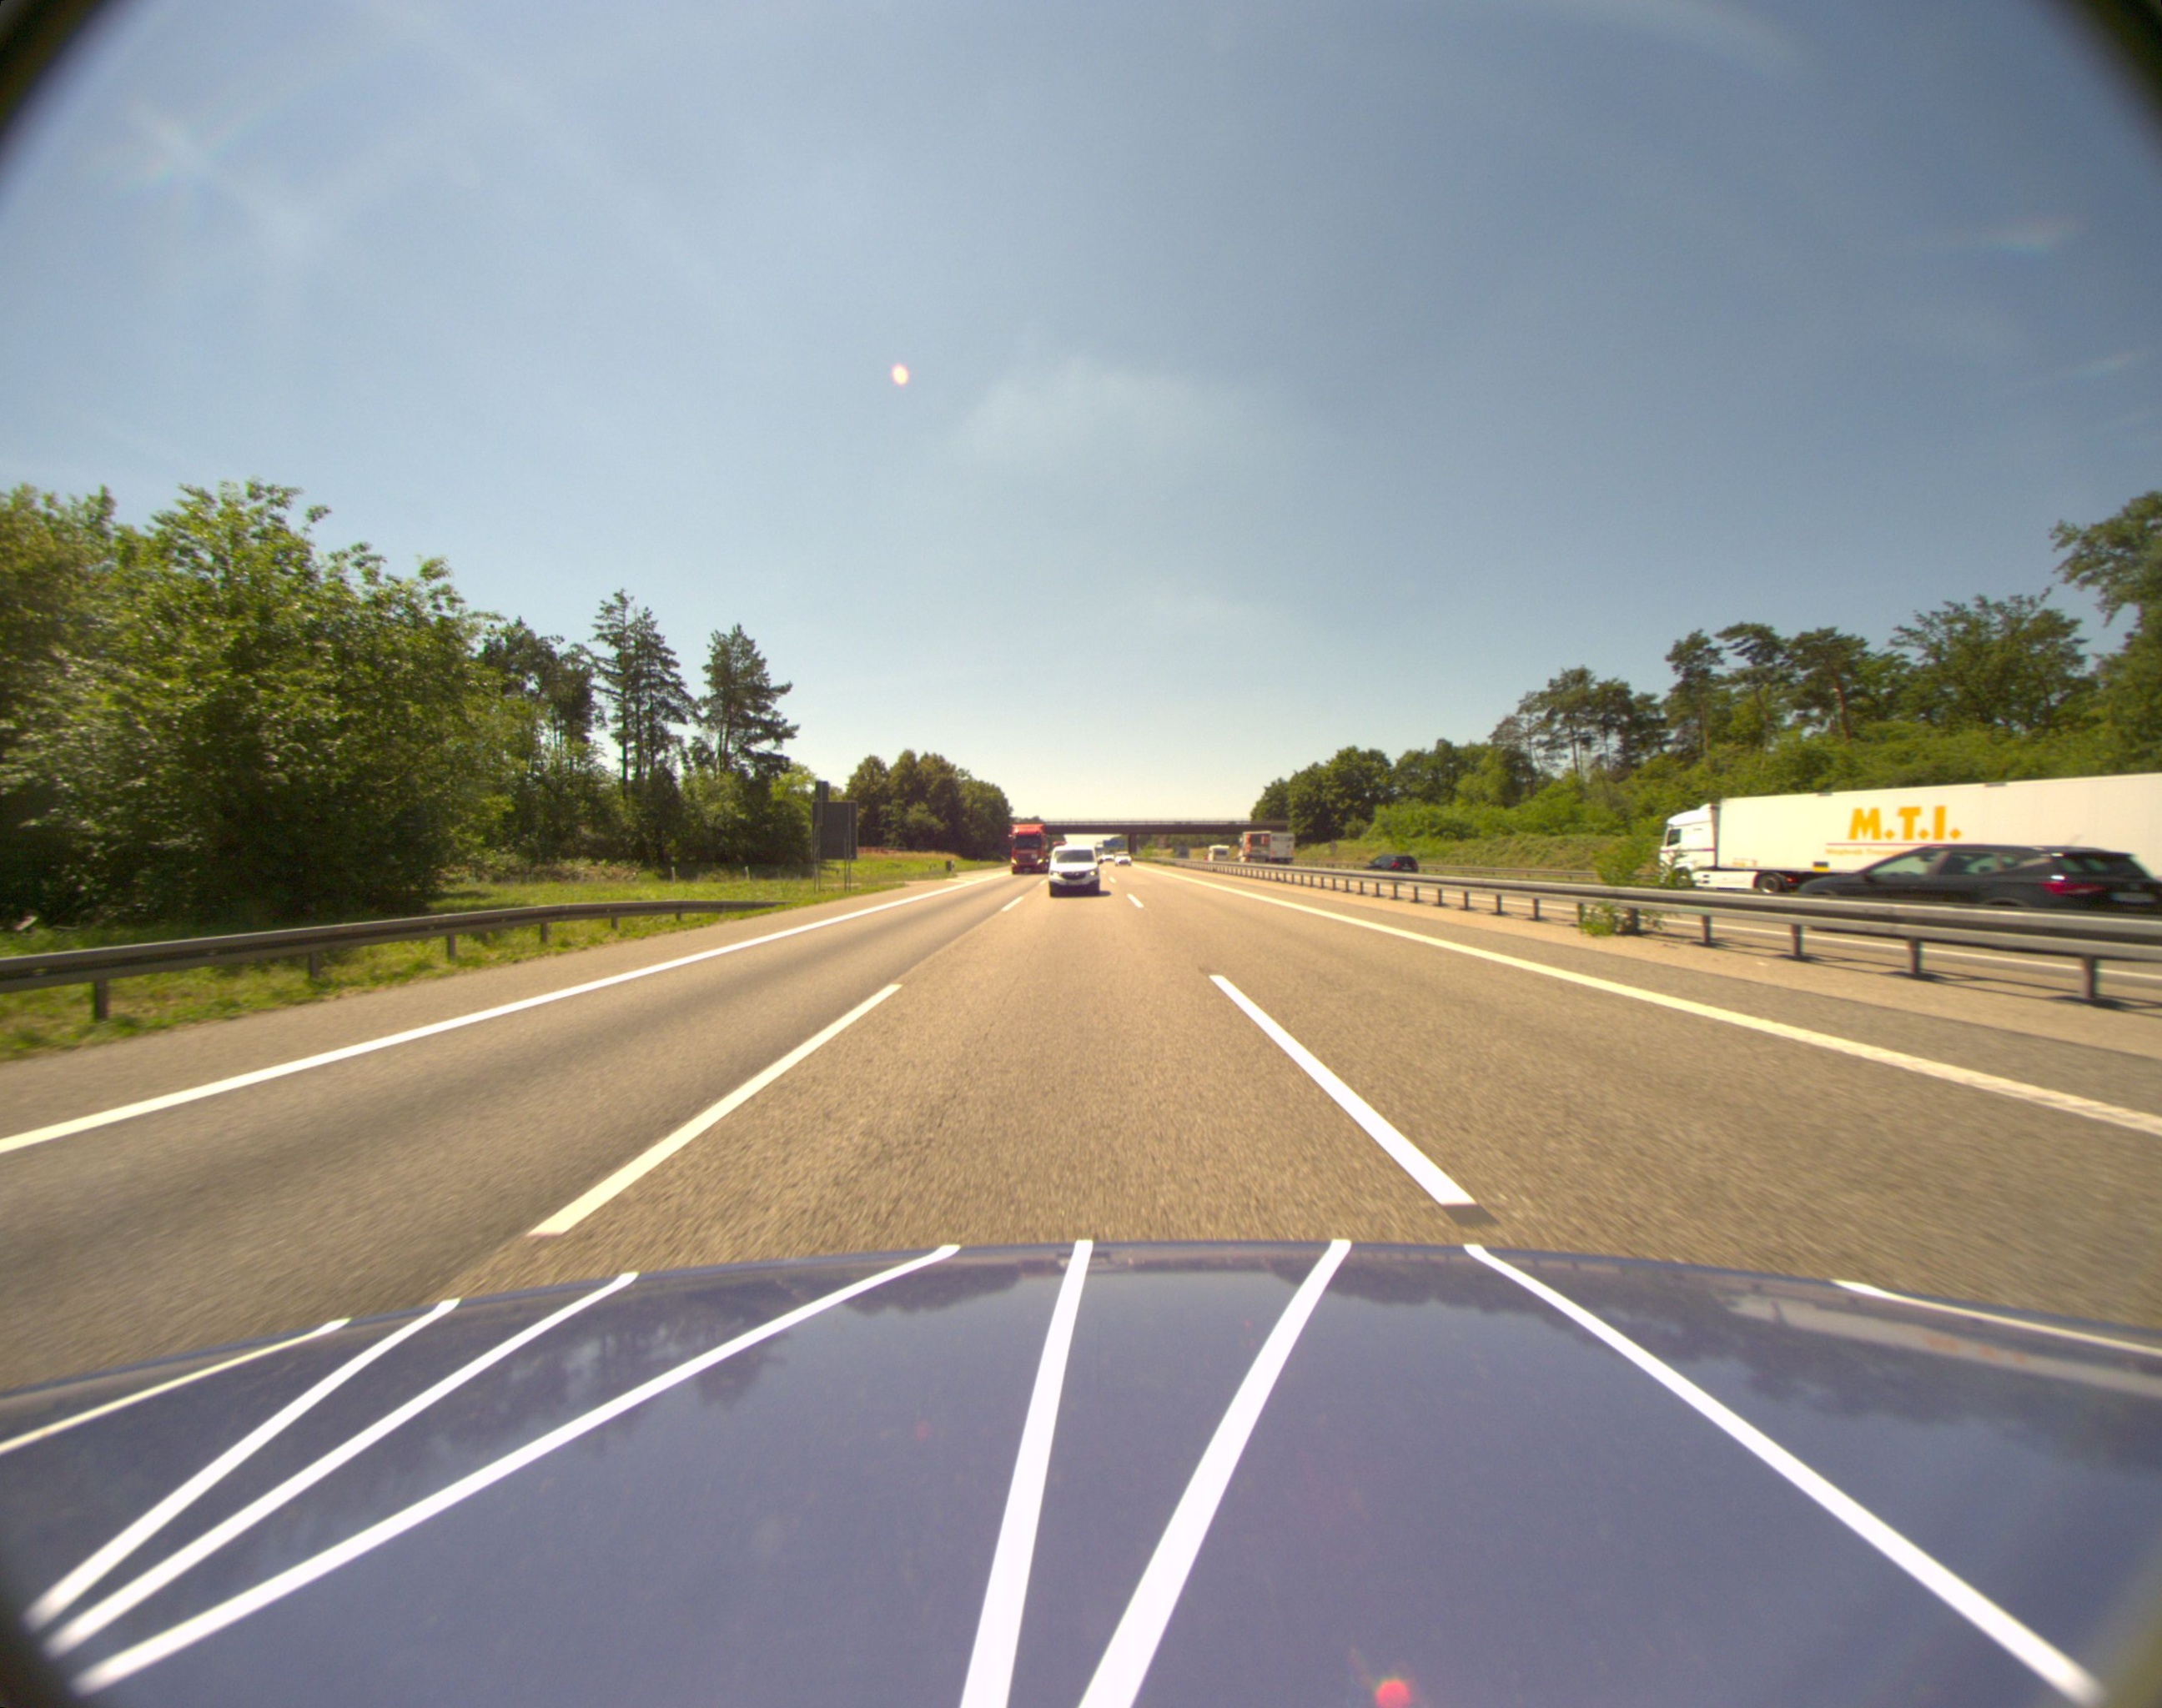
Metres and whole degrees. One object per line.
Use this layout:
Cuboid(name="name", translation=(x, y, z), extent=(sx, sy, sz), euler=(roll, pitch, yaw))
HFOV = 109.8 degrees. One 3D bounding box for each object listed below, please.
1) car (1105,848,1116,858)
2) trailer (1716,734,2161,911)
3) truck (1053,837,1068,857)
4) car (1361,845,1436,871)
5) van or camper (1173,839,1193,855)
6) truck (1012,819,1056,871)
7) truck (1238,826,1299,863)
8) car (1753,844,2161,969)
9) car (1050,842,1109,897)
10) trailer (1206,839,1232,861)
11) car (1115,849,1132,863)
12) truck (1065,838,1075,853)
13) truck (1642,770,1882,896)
Cuboid(name="car", translation=(4.585, -0.179, 118.870), extent=(1.581, 1.411, 3.353), euler=(-2, -2, 0))
Cuboid(name="trailer", translation=(30.164, -0.803, 26.670), extent=(3.080, 4.799, 13.758), euler=(2, 0, -5))
Cuboid(name="truck", translation=(-4.015, -1.297, 149.265), extent=(2.535, 3.712, 6.098), euler=(-2, 0, 0))
Cuboid(name="car", translation=(18.102, 0.196, 43.666), extent=(2.233, 1.372, 4.890), euler=(2, 0, 0))
Cuboid(name="van or camper", translation=(18.472, -1.211, 138.139), extent=(2.508, 2.794, 8.559), euler=(0, 1, -1))
Cuboid(name="truck", translation=(-3.699, -0.709, 62.823), extent=(2.687, 3.776, 12.477), euler=(-2, 0, 0))
Cuboid(name="truck", translation=(21.935, -1.144, 90.346), extent=(3.334, 3.973, 16.865), euler=(0, 1, 1))
Cuboid(name="car", translation=(13.774, 0.661, 11.937), extent=(2.057, 1.542, 4.890), euler=(2, 0, 0))
Cuboid(name="car", translation=(0.034, 0.513, 28.214), extent=(1.870, 1.807, 4.941), euler=(-2, 0, 3))
Cuboid(name="trailer", translation=(18.003, -0.567, 99.244), extent=(2.483, 2.732, 5.074), euler=(2, 0, 0))
Cuboid(name="car", translation=(4.469, 0.197, 80.305), extent=(1.581, 1.411, 3.353), euler=(-2, -1, 0))
Cuboid(name="truck", translation=(-3.042, -2.262, 212.379), extent=(2.603, 3.979, 6.173), euler=(-2, 0, 0))
Cuboid(name="truck", translation=(29.458, -0.800, 33.511), extent=(3.080, 4.799, 7.711), euler=(2, 0, -5))
